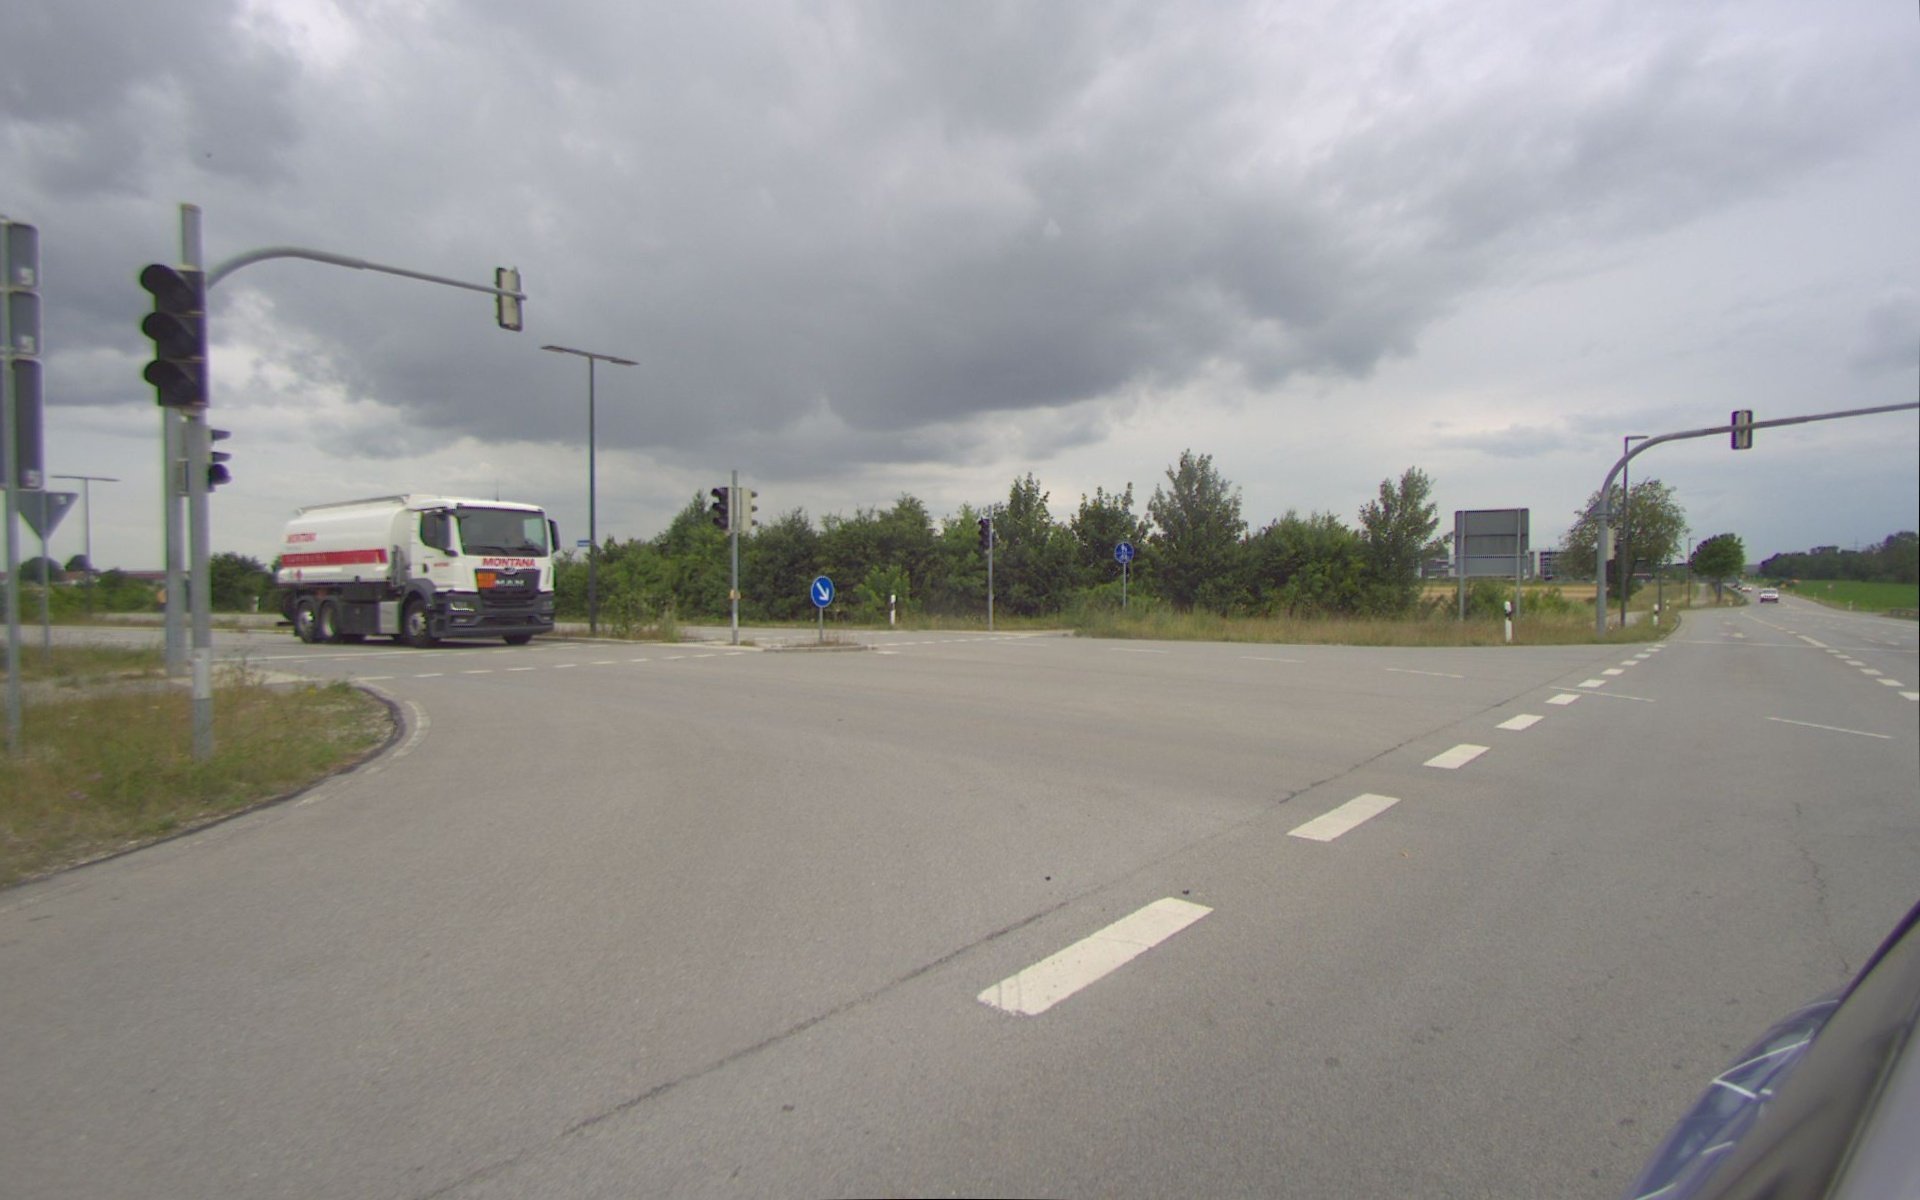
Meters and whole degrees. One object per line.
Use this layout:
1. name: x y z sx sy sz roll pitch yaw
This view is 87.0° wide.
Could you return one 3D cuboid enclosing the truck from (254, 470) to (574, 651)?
1. truck: -12.585 -0.806 22.953 8.594 3.450 2.843 0 1 35
